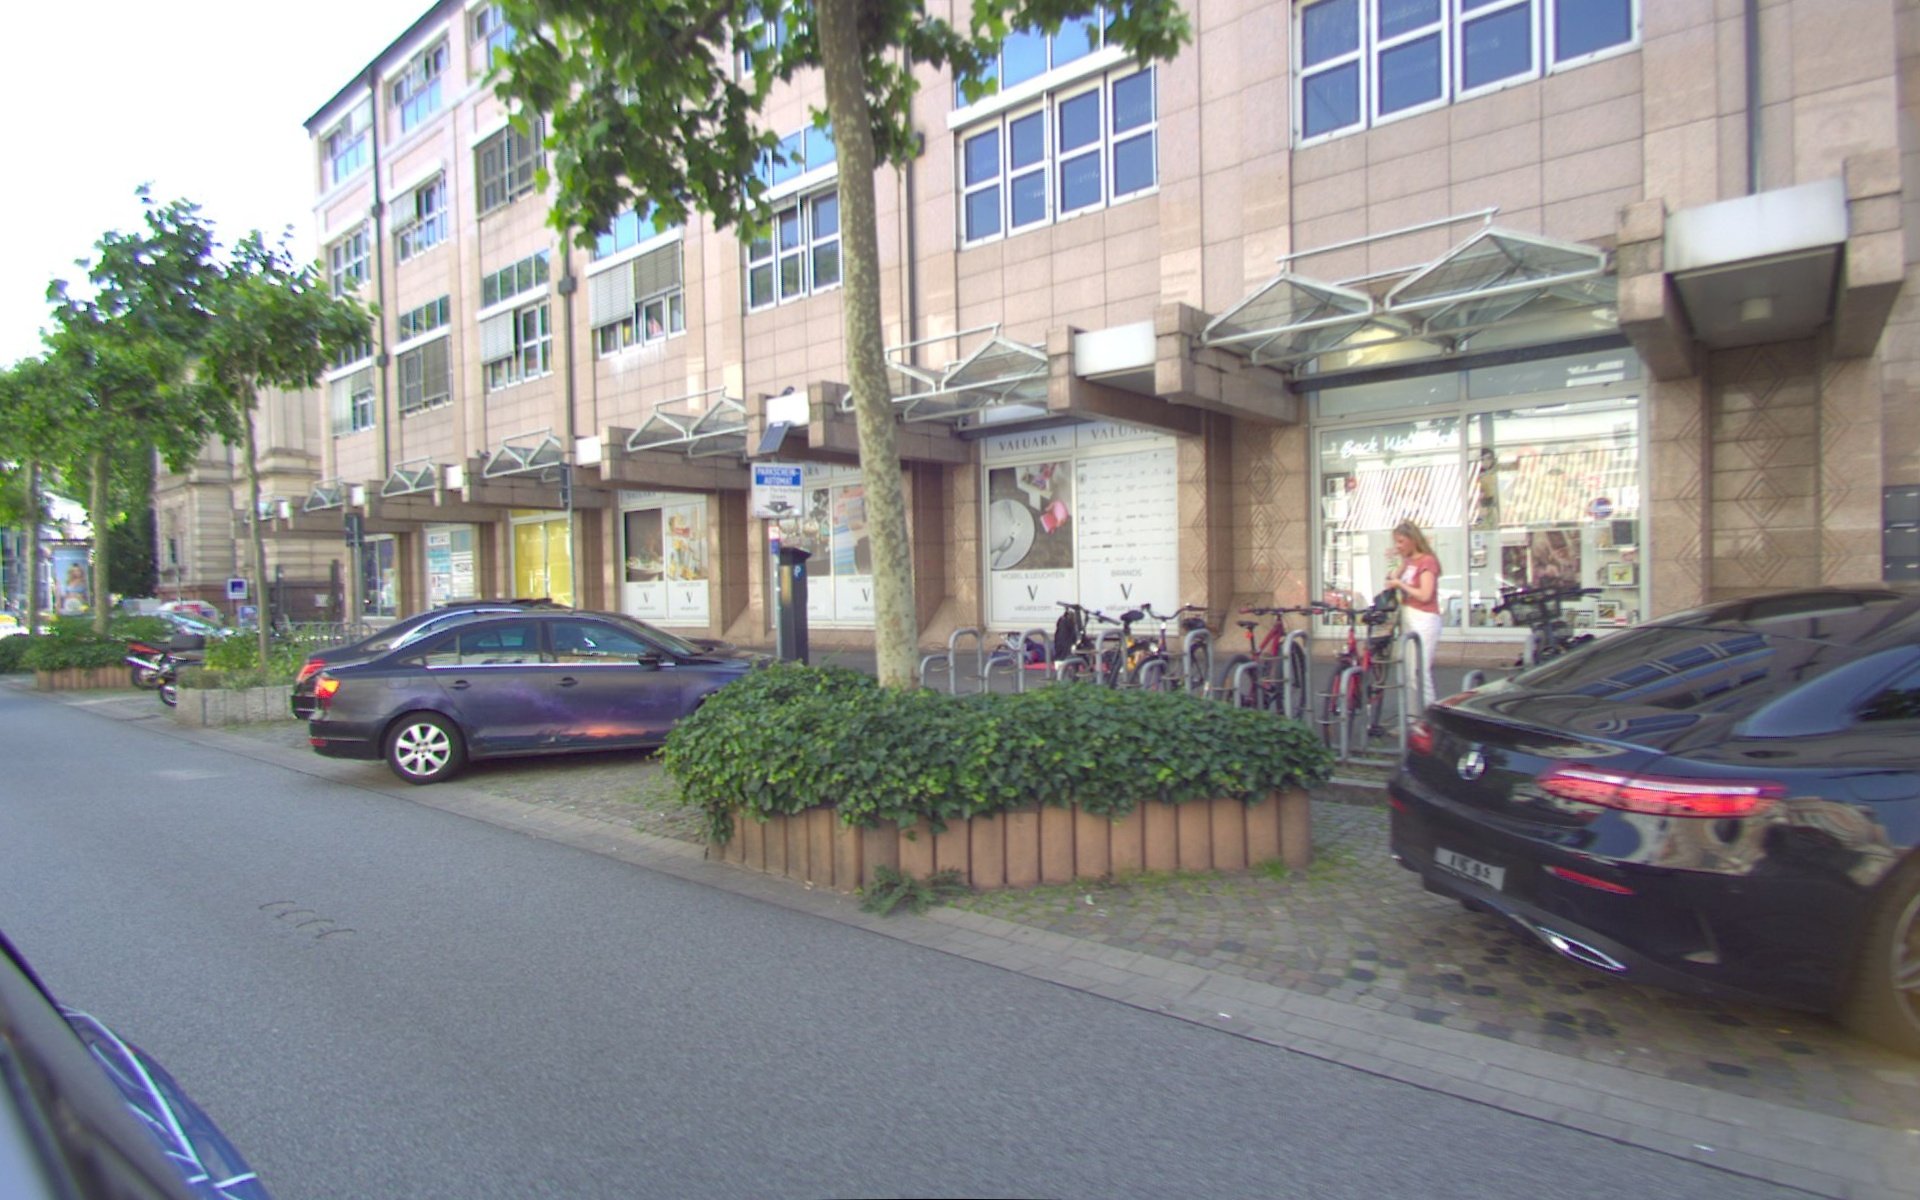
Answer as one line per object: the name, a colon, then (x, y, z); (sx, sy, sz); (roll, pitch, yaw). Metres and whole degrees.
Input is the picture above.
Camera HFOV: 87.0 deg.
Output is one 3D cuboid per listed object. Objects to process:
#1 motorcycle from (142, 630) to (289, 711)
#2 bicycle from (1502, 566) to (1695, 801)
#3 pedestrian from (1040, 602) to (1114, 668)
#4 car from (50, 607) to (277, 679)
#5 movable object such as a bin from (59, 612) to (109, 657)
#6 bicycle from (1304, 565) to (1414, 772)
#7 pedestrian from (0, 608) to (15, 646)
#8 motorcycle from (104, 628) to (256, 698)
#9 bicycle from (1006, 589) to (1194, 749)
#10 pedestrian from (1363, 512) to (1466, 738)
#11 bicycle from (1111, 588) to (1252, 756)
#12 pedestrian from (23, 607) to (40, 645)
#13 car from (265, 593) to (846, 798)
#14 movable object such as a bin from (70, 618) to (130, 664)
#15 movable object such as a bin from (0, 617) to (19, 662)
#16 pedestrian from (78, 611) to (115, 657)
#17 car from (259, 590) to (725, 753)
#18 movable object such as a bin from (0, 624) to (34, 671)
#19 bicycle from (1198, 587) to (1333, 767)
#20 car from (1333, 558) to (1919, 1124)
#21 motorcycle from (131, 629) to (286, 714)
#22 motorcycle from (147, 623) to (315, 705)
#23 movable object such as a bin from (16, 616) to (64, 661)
motorcycle: (-12.462, 1.151, 17.019); (1.884, 1.178, 0.731); (-3, 1, -30)
bicycle: (4.122, 0.443, 6.698); (0.755, 1.228, 2.056); (-2, 3, 24)
pedestrian: (1.594, 0.465, 13.799); (0.773, 0.814, 0.560); (-1, 5, 40)
car: (-19.841, 1.036, 25.380); (3.993, 1.506, 1.939); (-3, 1, -9)
movable object such as a bin: (-30.846, 1.201, 35.630); (1.195, 1.461, 1.365); (-4, 2, -44)
bicycle: (3.057, 0.428, 7.652); (0.366, 1.298, 2.049); (-1, 3, 32)
pedestrian: (-43.145, 1.211, 45.628); (0.691, 1.707, 0.687); (1, 2, 42)
motorcycle: (-15.175, 1.199, 19.780); (2.142, 1.178, 0.923); (-3, 1, -22)
bicycle: (1.298, 0.540, 8.984); (0.617, 1.138, 2.044); (0, 4, 40)
pedestrian: (3.506, 0.192, 7.845); (0.631, 1.669, 0.564); (-1, 0, 19)
bicycle: (1.923, 0.529, 8.540); (0.462, 1.138, 2.049); (-1, 3, 32)
pedestrian: (-42.148, 1.161, 45.940); (0.542, 1.677, 0.938); (-1, 2, -41)
car: (-3.558, 0.782, 9.709); (4.720, 1.433, 1.887); (-3, 1, -10)
movable object such as a bin: (-26.485, 1.261, 31.172); (1.079, 1.309, 1.197); (-3, 2, 40)
movable object such as a bin: (-32.538, 1.347, 34.122); (1.111, 1.461, 1.439); (-4, 1, -44)
pedestrian: (-33.807, 1.312, 39.631); (0.746, 1.738, 0.882); (-1, 1, 33)
car: (-5.349, 0.759, 12.211); (4.682, 1.544, 1.994); (-3, 1, -7)
movable object such as a bin: (-27.785, 1.383, 29.332); (0.853, 1.309, 1.264); (-1, 1, 40)
bicycle: (2.473, 0.526, 8.023); (0.462, 1.138, 2.049); (-1, 3, 32)
car: (4.135, 0.560, 3.941); (4.579, 1.418, 1.910); (-4, 1, -6)
motorcycle: (-12.091, 1.126, 16.364); (1.884, 1.178, 0.762); (-3, 1, -29)
motorcycle: (-13.173, 1.119, 18.421); (2.313, 1.277, 1.298); (-3, 1, -29)
movable object such as a bin: (-31.747, 1.324, 34.910); (1.111, 1.461, 1.439); (-4, 1, -44)
